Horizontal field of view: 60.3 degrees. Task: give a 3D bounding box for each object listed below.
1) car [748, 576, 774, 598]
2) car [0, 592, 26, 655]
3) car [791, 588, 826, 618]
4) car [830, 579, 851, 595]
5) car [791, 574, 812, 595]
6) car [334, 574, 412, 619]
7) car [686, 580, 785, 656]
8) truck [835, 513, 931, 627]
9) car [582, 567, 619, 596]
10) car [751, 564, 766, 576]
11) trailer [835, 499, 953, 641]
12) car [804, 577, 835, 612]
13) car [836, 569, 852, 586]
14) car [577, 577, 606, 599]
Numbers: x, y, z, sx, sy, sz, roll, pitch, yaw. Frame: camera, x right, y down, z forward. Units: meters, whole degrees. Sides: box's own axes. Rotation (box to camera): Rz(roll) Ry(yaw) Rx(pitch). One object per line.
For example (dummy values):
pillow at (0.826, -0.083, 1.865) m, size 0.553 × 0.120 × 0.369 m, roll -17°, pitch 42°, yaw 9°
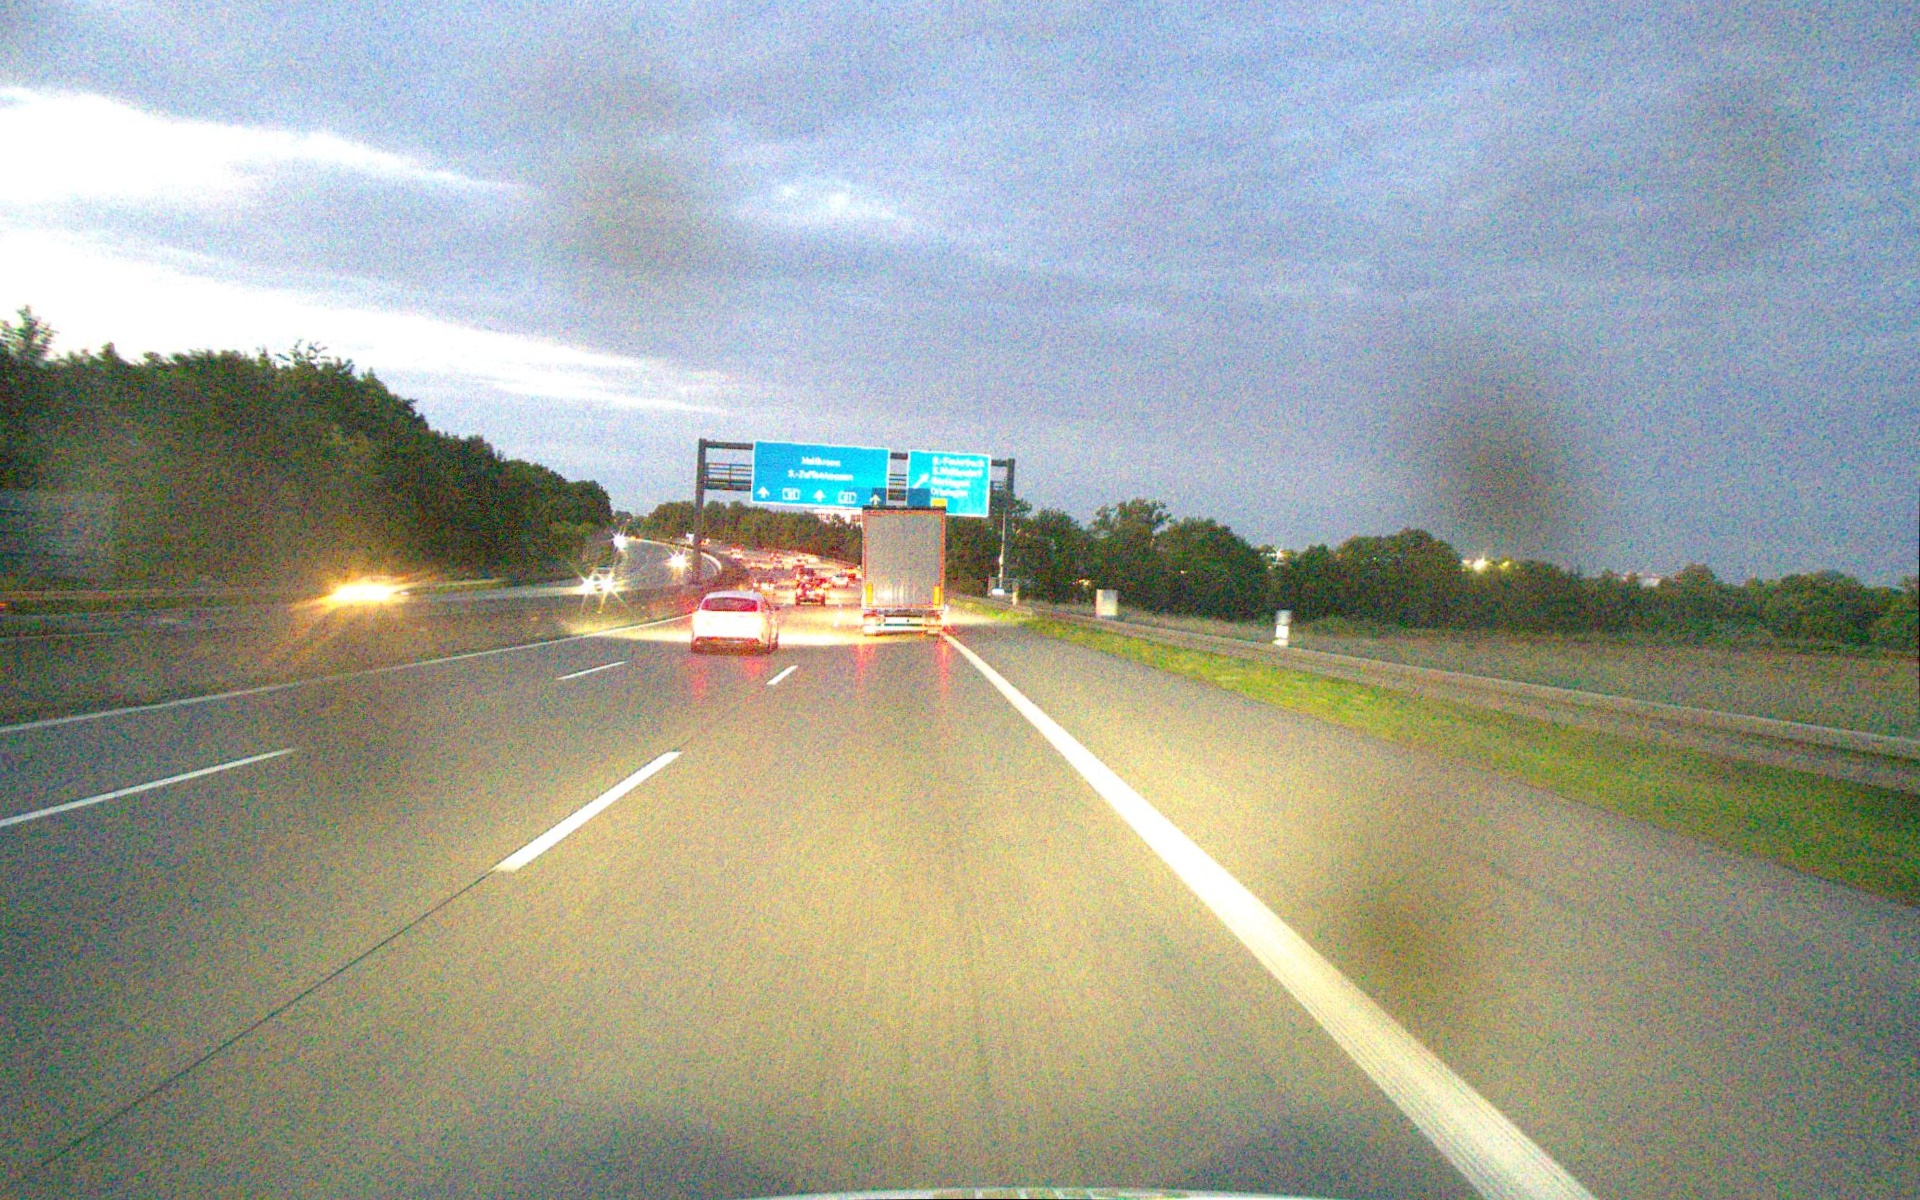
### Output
car at (-15.696, -1.030, 130.520) m, size 1.727 × 1.602 × 4.573 m, roll 2°, pitch -1°, yaw -4°
car at (-19.983, 0.408, 31.041) m, size 2.018 × 1.247 × 5.232 m, roll 2°, pitch -1°, yaw -2°
car at (-9.305, 0.197, 102.100) m, size 2.025 × 1.715 × 4.572 m, roll 2°, pitch -1°, yaw -5°
car at (-12.588, -1.381, 174.504) m, size 1.953 × 1.561 × 3.998 m, roll 2°, pitch -1°, yaw -2°
car at (-16.266, -1.569, 169.792) m, size 1.954 × 2.049 × 3.997 m, roll 2°, pitch -1°, yaw -3°
car at (-26.875, -0.137, 75.905) m, size 1.954 × 1.926 × 5.054 m, roll 2°, pitch -1°, yaw -3°
car at (-5.294, 0.436, 39.622) m, size 1.868 × 1.642 × 4.801 m, roll 2°, pitch -1°, yaw -3°
truck at (-3.033, -1.144, 63.652) m, size 3.481 × 4.162 × 6.146 m, roll 0°, pitch 1°, yaw -4°
car at (-26.487, -1.343, 121.965) m, size 1.838 × 1.926 × 5.054 m, roll 2°, pitch -1°, yaw -3°
car at (-31.585, -4.682, 259.253) m, size 1.953 × 1.650 × 3.998 m, roll 2°, pitch -1°, yaw -2°
trailer at (-2.515, -1.023, 56.493) m, size 3.480 × 4.188 × 15.051 m, roll 0°, pitch 1°, yaw -4°
car at (-10.277, -0.385, 120.933) m, size 1.956 × 2.422 × 3.992 m, roll 2°, pitch -1°, yaw -9°
car at (-15.228, -2.931, 217.452) m, size 1.954 × 2.013 × 3.997 m, roll 2°, pitch -1°, yaw -4°
car at (-33.635, -1.080, 151.063) m, size 1.955 × 1.926 × 4.674 m, roll 2°, pitch -1°, yaw -5°
